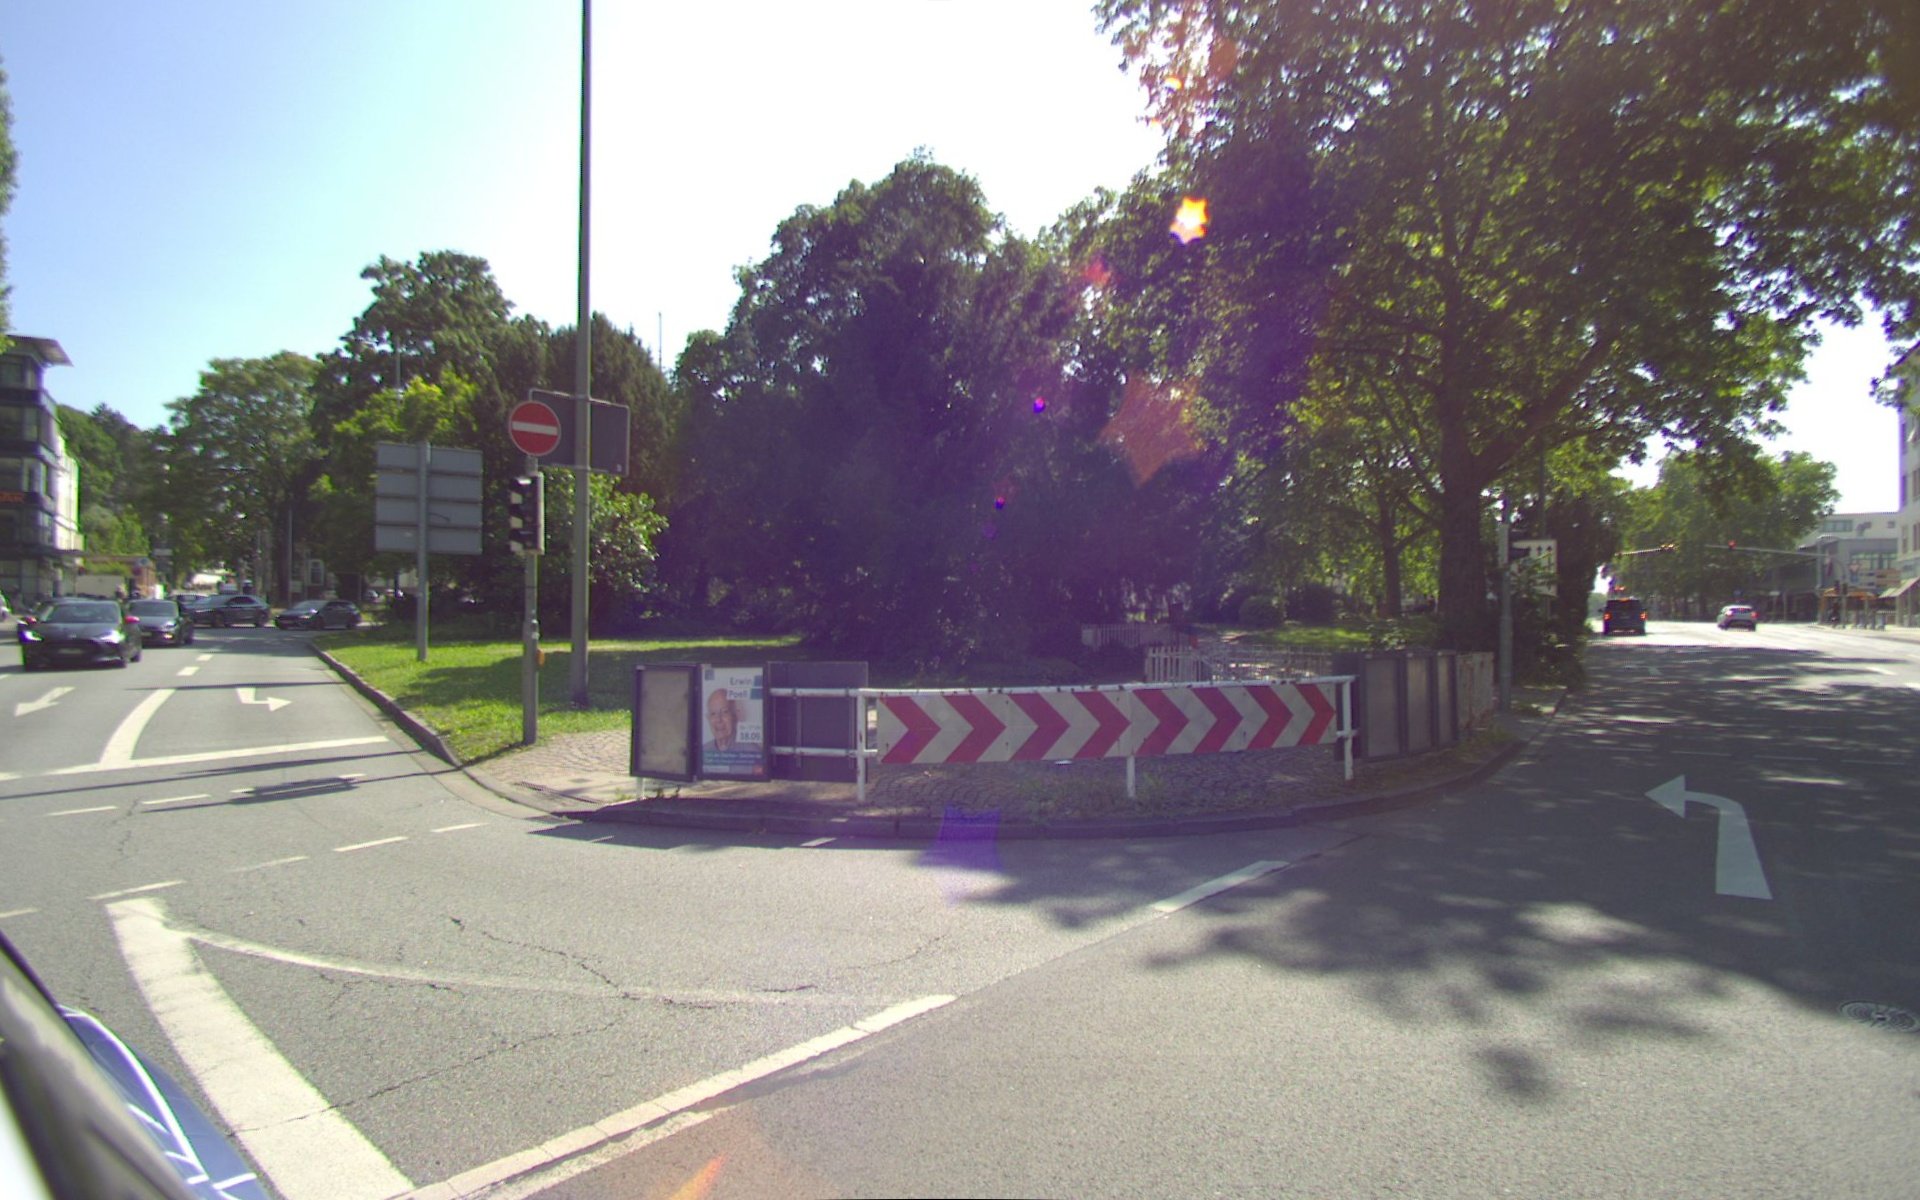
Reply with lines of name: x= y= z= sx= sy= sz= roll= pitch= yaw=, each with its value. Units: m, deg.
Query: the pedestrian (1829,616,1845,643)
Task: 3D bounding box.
pedestrian: x=57.733 y=1.930 z=66.603 sx=0.695 sy=1.800 sz=0.826 roll=-1 pitch=-2 yaw=34

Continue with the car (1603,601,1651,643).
car: x=35.812 y=1.178 z=54.299 sx=1.932 sy=2.184 sz=4.008 roll=-2 pitch=-1 yaw=36

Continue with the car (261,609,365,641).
car: x=-31.033 y=1.197 z=48.712 sx=1.918 sy=1.440 sz=4.544 roll=1 pitch=-1 yaw=4

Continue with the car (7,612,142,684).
car: x=-19.734 y=1.046 z=22.718 sx=1.781 sy=1.462 sz=3.964 roll=2 pitch=-3 yaw=-35

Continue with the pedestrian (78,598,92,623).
pedestrian: x=-59.724 y=0.693 z=69.098 sx=0.592 sy=1.718 sz=0.606 roll=1 pitch=-1 yaw=-31

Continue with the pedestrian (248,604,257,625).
pedestrian: x=-59.271 y=1.196 z=84.825 sx=0.593 sy=1.718 sz=0.605 roll=1 pitch=-1 yaw=-37

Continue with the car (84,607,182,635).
car: x=-48.253 y=1.185 z=59.100 sx=4.351 sy=1.566 sz=1.687 roll=1 pitch=-1 yaw=-42

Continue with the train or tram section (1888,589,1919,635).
train or tram section: x=78.824 y=0.930 z=81.038 sx=2.115 sy=3.712 sz=6.302 roll=1 pitch=-1 yaw=-32

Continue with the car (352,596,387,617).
car: x=-47.940 y=0.529 z=82.141 sx=1.822 sy=1.674 sz=4.007 roll=1 pitch=-1 yaw=-39

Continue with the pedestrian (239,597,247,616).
pedestrian: x=-65.931 y=0.626 z=93.090 sx=0.592 sy=1.718 sz=0.606 roll=1 pitch=-1 yaw=-36

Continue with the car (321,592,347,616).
car: x=-55.212 y=0.341 z=89.247 sx=1.820 sy=2.029 sz=4.011 roll=1 pitch=-1 yaw=-33

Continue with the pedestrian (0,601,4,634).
pedestrian: x=-48.500 y=0.882 z=50.805 sx=0.700 sy=1.685 sz=0.535 roll=1 pitch=-1 yaw=-39

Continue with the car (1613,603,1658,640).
car: x=38.963 y=1.215 z=58.335 sx=1.932 sy=2.096 sz=4.008 roll=-1 pitch=-1 yaw=36

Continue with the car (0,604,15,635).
car: x=-51.624 y=1.006 z=52.025 sx=4.350 sy=1.566 sz=1.687 roll=1 pitch=-1 yaw=-42

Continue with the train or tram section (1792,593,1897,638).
train or tram section: x=75.430 y=1.307 z=86.418 sx=2.115 sy=3.712 sz=6.388 roll=1 pitch=-1 yaw=-31

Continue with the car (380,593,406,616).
car: x=-52.275 y=0.443 z=93.230 sx=1.820 sy=2.029 sz=4.011 roll=1 pitch=-1 yaw=-33

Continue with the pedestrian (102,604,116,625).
pedestrian: x=-67.207 y=1.142 z=79.945 sx=0.592 sy=1.609 sz=0.606 roll=1 pitch=-1 yaw=-15

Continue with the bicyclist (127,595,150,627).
bicyclist: x=-42.474 y=0.586 z=52.320 sx=0.699 sy=1.625 sz=0.734 roll=1 pitch=-1 yaw=-19

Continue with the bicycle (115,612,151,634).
bicycle: x=-42.623 y=1.170 z=52.170 sx=0.699 sy=1.062 sz=2.214 roll=1 pitch=-1 yaw=-19

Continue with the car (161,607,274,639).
car: x=-34.900 y=1.080 z=47.737 sx=1.917 sy=1.440 sz=4.546 roll=1 pitch=-1 yaw=2

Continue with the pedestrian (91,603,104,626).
pedestrian: x=-64.511 y=1.070 z=75.696 sx=0.592 sy=1.718 sz=0.606 roll=2 pitch=-2 yaw=-36

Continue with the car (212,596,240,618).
car: x=-61.044 y=0.605 z=84.153 sx=1.821 sy=1.801 sz=4.009 roll=1 pitch=-1 yaw=-37

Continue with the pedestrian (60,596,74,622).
pedestrian: x=-59.519 y=0.594 z=67.482 sx=0.592 sy=1.718 sz=0.606 roll=1 pitch=-1 yaw=-31

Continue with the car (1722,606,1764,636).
car: x=47.583 y=1.253 z=61.564 sx=1.847 sy=1.748 sz=4.008 roll=-2 pitch=-1 yaw=36

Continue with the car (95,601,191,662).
car: x=-25.353 y=0.941 z=31.550 sx=1.859 sy=1.696 sz=4.153 roll=3 pitch=-1 yaw=-33

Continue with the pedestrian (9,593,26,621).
pedestrian: x=-58.788 y=0.431 z=63.111 sx=0.690 sy=1.718 sz=0.604 roll=1 pitch=-1 yaw=-36
